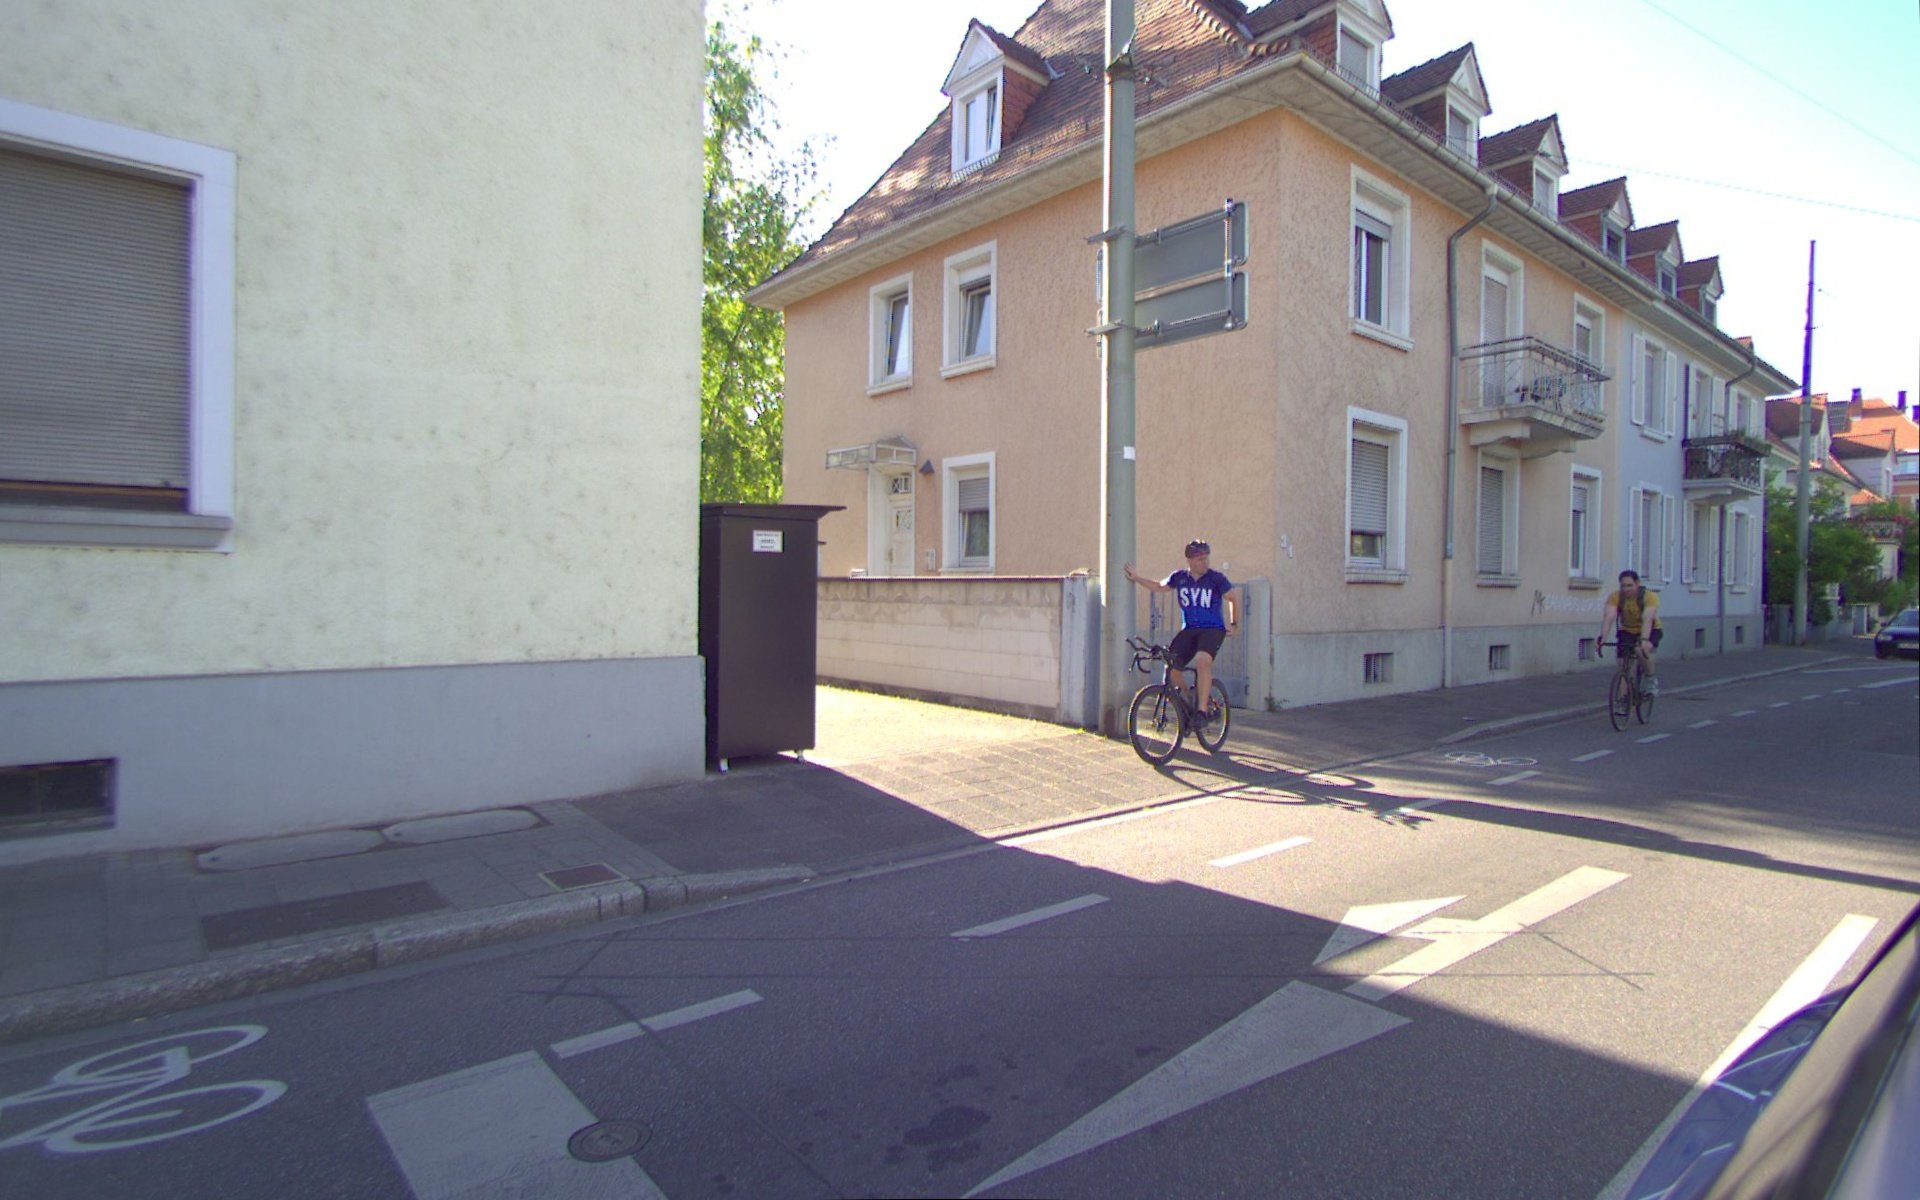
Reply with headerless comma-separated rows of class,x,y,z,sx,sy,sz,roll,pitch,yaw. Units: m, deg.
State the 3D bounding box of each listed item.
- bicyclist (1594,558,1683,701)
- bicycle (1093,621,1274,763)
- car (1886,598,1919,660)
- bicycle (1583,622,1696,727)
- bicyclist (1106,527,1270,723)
bicyclist,8.149,0.332,12.147,0.841,1.641,0.685,0,0,-41
bicycle,2.032,0.771,9.071,1.744,1.081,0.592,0,5,-41
car,26.685,0.750,27.380,3.742,1.601,1.696,0,-1,-36
bicycle,8.183,0.850,12.165,1.774,1.118,0.685,-1,0,-41
bicyclist,2.090,0.192,9.345,0.870,1.627,1.052,1,5,-41
